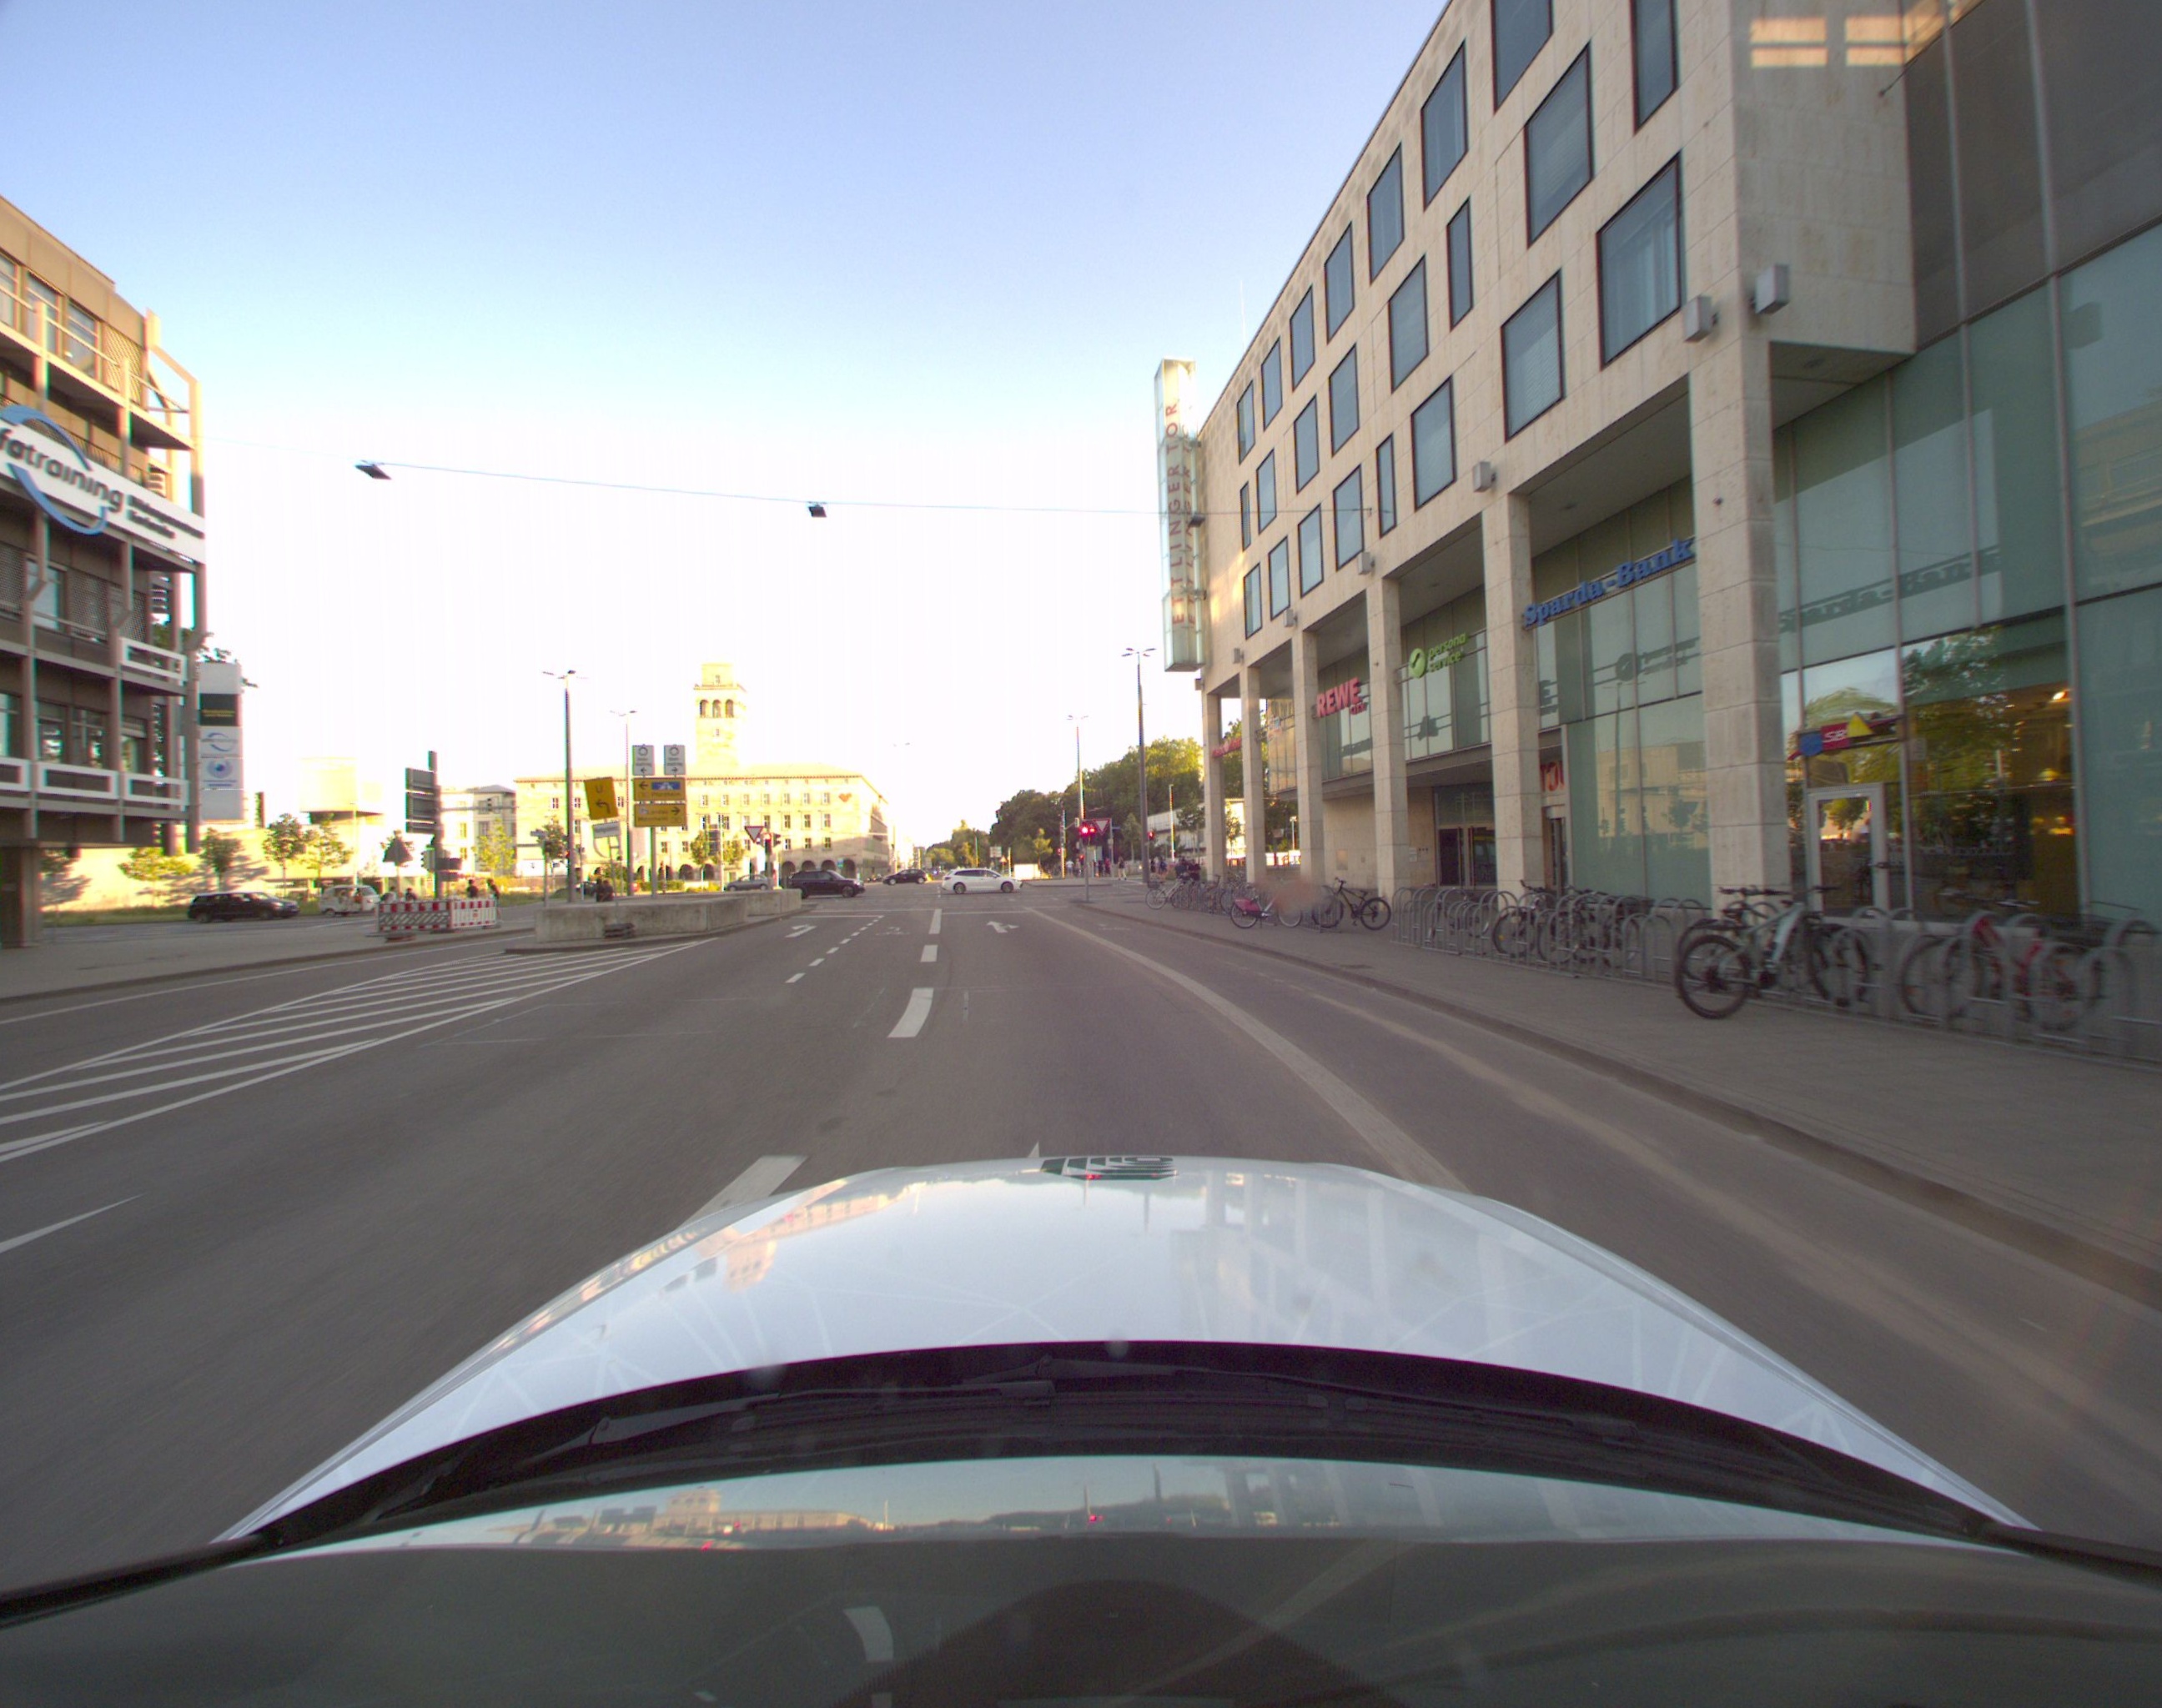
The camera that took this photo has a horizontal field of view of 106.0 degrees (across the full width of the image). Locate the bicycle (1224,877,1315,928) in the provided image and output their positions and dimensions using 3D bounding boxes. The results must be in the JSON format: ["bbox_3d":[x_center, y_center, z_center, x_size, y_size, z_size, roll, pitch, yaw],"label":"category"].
[{"bbox_3d":[4.276,1.089,18.531,1.895,1.048,0.569,-2,-1,-5],"label":"bicycle"}]

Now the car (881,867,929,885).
[{"bbox_3d":[-16.101,2.033,74.599,3.996,1.453,1.533,-2,-1,-26],"label":"car"}]

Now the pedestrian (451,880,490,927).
[{"bbox_3d":[-24.395,1.980,32.535,0.734,1.777,0.865,-5,0,7],"label":"pedestrian"}]

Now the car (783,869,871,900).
[{"bbox_3d":[-14.180,1.706,45.752,4.462,1.496,2.120,-2,-1,-11],"label":"car"}]

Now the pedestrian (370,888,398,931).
[{"bbox_3d":[-30.410,2.409,35.521,0.852,1.777,0.745,-5,-1,44],"label":"pedestrian"}]

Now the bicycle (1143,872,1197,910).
[{"bbox_3d":[3.095,1.274,28.253,1.808,1.212,0.571,-2,-1,5],"label":"bicycle"}]

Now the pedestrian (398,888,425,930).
[{"bbox_3d":[-29.855,2.466,36.308,0.745,1.777,0.852,-4,-1,-45],"label":"pedestrian"}]

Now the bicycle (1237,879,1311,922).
[{"bbox_3d":[5.143,1.218,21.739,1.869,1.113,0.569,0,-1,-7],"label":"bicycle"}]

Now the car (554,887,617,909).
[{"bbox_3d":[-39.836,3.554,65.545,3.999,1.494,1.817,-2,-1,-19],"label":"car"}]

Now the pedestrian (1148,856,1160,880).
[{"bbox_3d":[5.391,1.036,60.035,0.831,1.730,0.689,-2,-1,6],"label":"pedestrian"}]

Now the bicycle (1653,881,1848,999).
[{"bbox_3d":[7.187,0.896,8.761,1.763,1.129,0.515,-2,-1,-7],"label":"bicycle"}]

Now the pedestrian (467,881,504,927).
[{"bbox_3d":[-24.479,2.042,33.467,0.735,1.777,0.864,-5,0,3],"label":"pedestrian"}]

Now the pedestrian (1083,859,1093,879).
[{"bbox_3d":[0.602,1.347,73.859,0.805,1.730,0.688,-2,-1,2],"label":"pedestrian"}]

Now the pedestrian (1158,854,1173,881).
[{"bbox_3d":[5.645,0.903,54.515,0.888,1.730,0.689,-2,-1,7],"label":"pedestrian"}]

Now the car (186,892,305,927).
[{"bbox_3d":[-45.636,2.999,44.566,4.193,1.592,1.686,-2,-1,-19],"label":"car"}]

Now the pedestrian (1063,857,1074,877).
[{"bbox_3d":[-1.092,1.165,72.505,0.809,1.730,0.685,-2,-1,-12],"label":"pedestrian"}]

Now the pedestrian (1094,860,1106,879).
[{"bbox_3d":[1.747,1.430,74.698,0.692,1.730,0.801,-1,-1,-43],"label":"pedestrian"}]

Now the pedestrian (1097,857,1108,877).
[{"bbox_3d":[1.960,1.178,73.258,0.808,1.730,0.685,-2,-1,-11],"label":"pedestrian"}]

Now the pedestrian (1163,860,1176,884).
[{"bbox_3d":[6.519,1.298,60.060,0.832,1.730,0.688,-2,-1,3],"label":"pedestrian"}]

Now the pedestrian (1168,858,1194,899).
[{"bbox_3d":[4.582,1.122,37.392,0.860,1.777,0.738,-4,0,-9],"label":"pedestrian"}]

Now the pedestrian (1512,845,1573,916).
[{"bbox_3d":[12.086,0.688,21.348,0.861,1.777,0.987,-3,-1,-11],"label":"pedestrian"}]

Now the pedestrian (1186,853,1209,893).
[{"bbox_3d":[5.372,0.879,37.544,0.756,1.777,0.738,-4,0,-9],"label":"pedestrian"}]

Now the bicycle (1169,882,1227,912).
[{"bbox_3d":[4.017,1.475,28.020,1.868,0.936,0.514,-2,-1,-12],"label":"bicycle"}]

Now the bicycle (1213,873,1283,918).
[{"bbox_3d":[4.807,1.177,23.481,1.868,1.260,0.671,0,-1,-12],"label":"bicycle"}]

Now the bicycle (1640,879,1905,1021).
[{"bbox_3d":[6.219,0.833,7.359,1.985,1.129,0.569,-2,-1,-5],"label":"bicycle"}]

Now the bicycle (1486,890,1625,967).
[{"bbox_3d":[6.568,1.015,11.292,1.739,0.936,0.514,-2,-1,-12],"label":"bicycle"}]

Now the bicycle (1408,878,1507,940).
[{"bbox_3d":[6.912,0.991,14.932,1.709,1.023,0.596,-2,-1,-21],"label":"bicycle"}]

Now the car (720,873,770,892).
[{"bbox_3d":[-28.704,2.414,69.593,3.722,1.453,1.537,-2,-1,-16],"label":"car"}]

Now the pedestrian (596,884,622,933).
[{"bbox_3d":[-17.798,2.043,30.682,0.744,1.777,0.854,-2,-1,-34],"label":"pedestrian"}]

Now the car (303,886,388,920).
[{"bbox_3d":[-41.228,2.734,45.716,3.145,1.685,1.599,-2,-1,-24],"label":"car"}]

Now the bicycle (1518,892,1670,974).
[{"bbox_3d":[6.713,1.011,10.673,1.809,0.936,0.514,-2,-1,-12],"label":"bicycle"}]

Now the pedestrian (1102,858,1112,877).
[{"bbox_3d":[2.391,1.199,73.925,0.806,1.730,0.687,-2,-1,-3],"label":"pedestrian"}]

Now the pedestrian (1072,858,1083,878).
[{"bbox_3d":[-0.301,1.274,72.778,0.809,1.730,0.685,-2,-1,-12],"label":"pedestrian"}]

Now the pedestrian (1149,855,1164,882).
[{"bbox_3d":[4.958,0.936,53.406,0.890,1.730,0.687,-2,-1,-2],"label":"pedestrian"}]

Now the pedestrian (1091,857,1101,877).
[{"bbox_3d":[1.383,1.146,73.201,0.805,1.730,0.688,-2,-1,2],"label":"pedestrian"}]

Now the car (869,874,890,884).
[{"bbox_3d":[-35.934,4.439,145.222,1.979,1.662,4.016,-2,-1,15],"label":"car"}]

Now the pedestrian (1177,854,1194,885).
[{"bbox_3d":[6.343,0.919,49.356,0.890,1.831,0.687,-2,-1,-2],"label":"pedestrian"}]

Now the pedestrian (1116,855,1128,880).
[{"bbox_3d":[2.915,0.931,57.751,0.691,1.730,0.739,-2,-1,-8],"label":"pedestrian"}]

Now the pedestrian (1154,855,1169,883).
[{"bbox_3d":[5.142,0.947,51.919,0.889,1.730,0.688,-2,-1,2],"label":"pedestrian"}]

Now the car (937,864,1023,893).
[{"bbox_3d":[-5.873,1.402,47.296,4.798,1.496,2.120,-2,-1,-11],"label":"car"}]

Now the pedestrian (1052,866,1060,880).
[{"bbox_3d":[-3.274,2.511,106.853,0.809,1.730,0.925,-2,-1,-11],"label":"pedestrian"}]

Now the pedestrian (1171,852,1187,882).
[{"bbox_3d":[6.242,0.811,51.867,0.889,1.840,0.688,-2,-1,2],"label":"pedestrian"}]

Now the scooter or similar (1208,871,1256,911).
[{"bbox_3d":[4.680,1.134,25.258,1.276,1.160,0.671,-1,-1,-11],"label":"scooter or similar"}]

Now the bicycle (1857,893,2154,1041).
[{"bbox_3d":[7.579,0.902,6.706,1.985,1.129,0.555,0,-1,-5],"label":"bicycle"}]

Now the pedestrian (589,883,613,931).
[{"bbox_3d":[-18.445,2.033,31.292,0.743,1.777,0.855,-1,-1,-32],"label":"pedestrian"}]

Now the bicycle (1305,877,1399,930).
[{"bbox_3d":[5.774,1.045,17.395,1.812,1.100,0.600,0,-1,-3],"label":"bicycle"}]
